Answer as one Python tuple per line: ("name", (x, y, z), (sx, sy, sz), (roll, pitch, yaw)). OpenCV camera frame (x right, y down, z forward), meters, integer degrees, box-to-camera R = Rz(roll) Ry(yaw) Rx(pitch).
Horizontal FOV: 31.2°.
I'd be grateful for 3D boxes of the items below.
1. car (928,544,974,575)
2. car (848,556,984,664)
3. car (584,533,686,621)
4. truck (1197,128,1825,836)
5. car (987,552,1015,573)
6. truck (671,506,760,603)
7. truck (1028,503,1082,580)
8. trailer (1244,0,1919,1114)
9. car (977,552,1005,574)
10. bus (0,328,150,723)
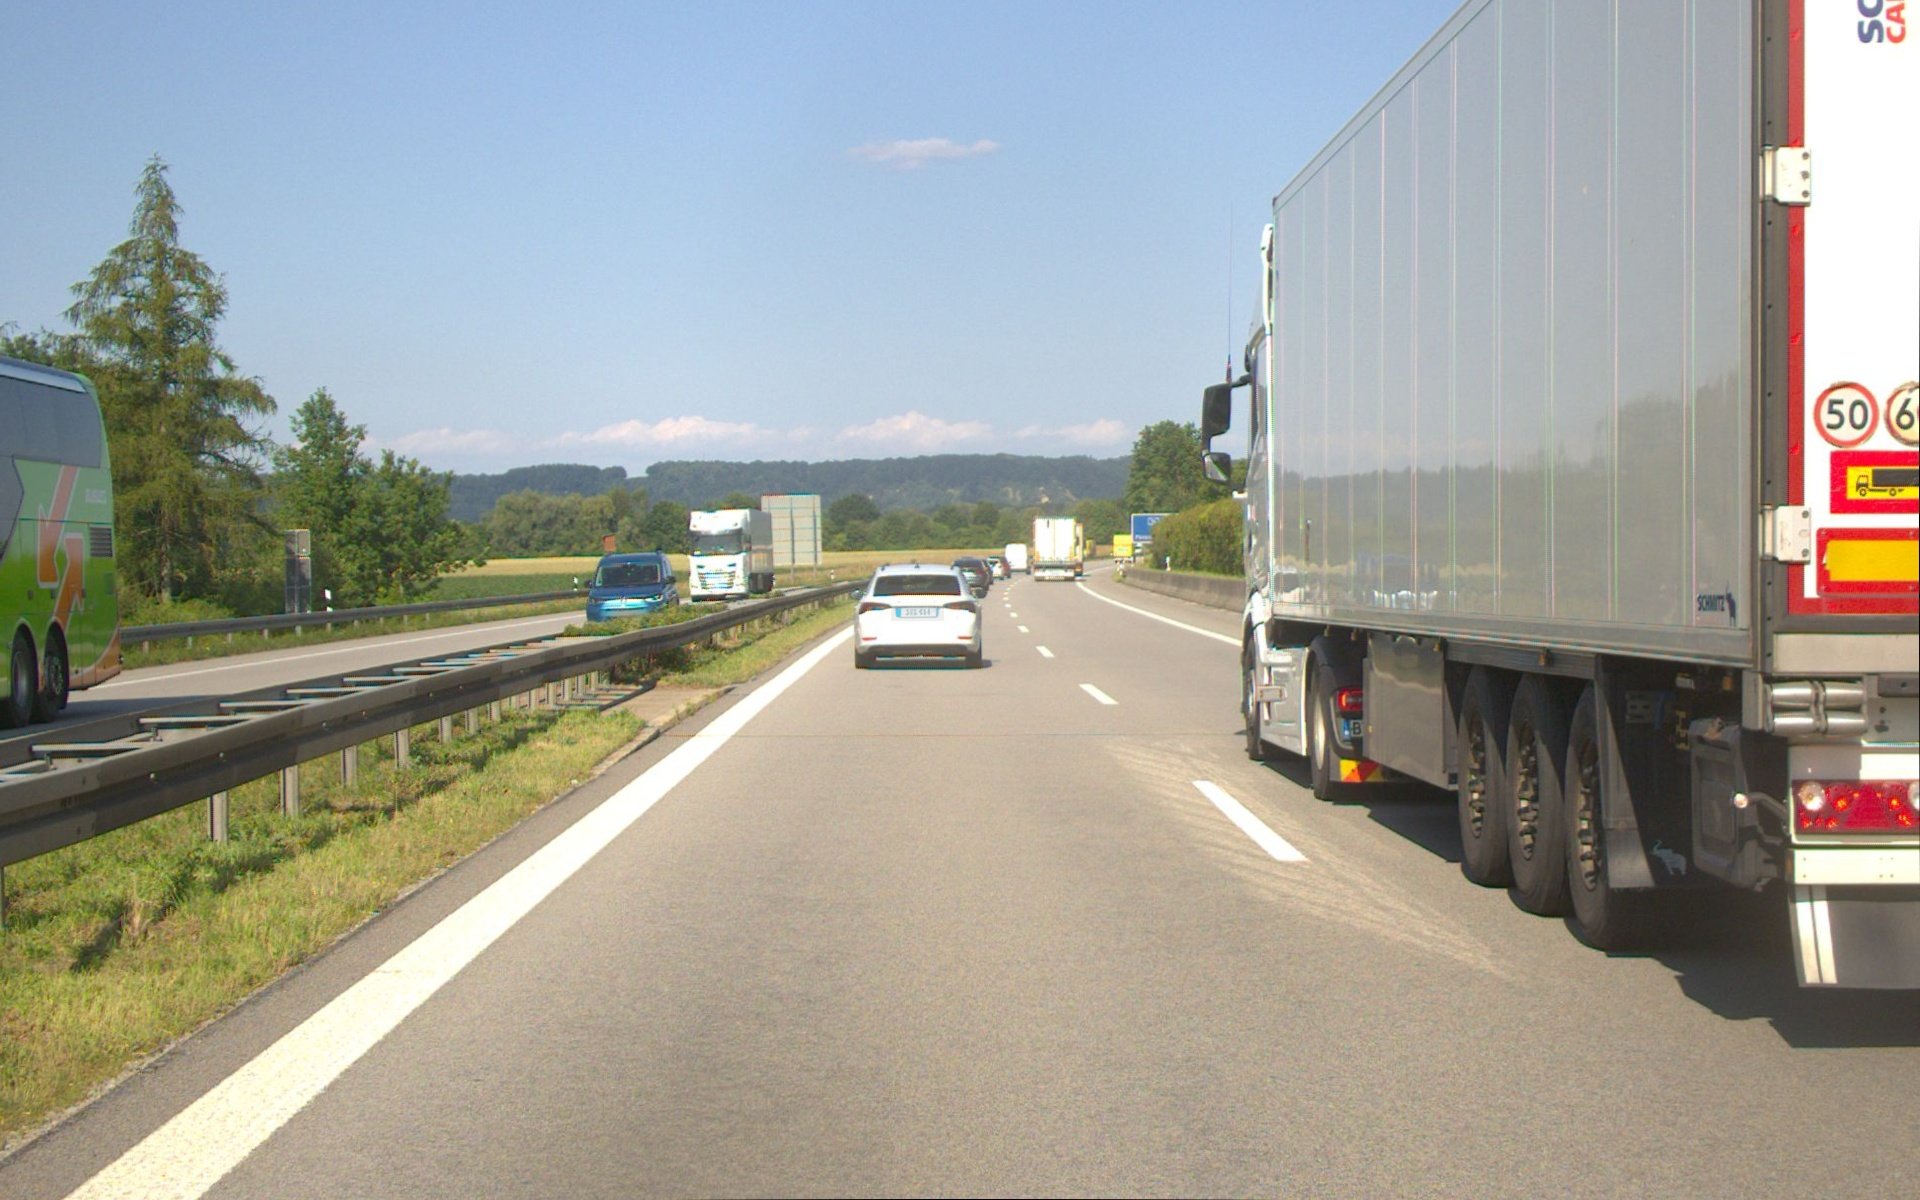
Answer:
("car", (-0.399, -1.843, 155.707), (1.771, 1.416, 4.495), (0, 1, 4))
("car", (-0.651, 0.100, 49.155), (1.840, 1.416, 5.255), (0, 1, -1))
("car", (-7.354, -0.546, 78.139), (1.754, 1.843, 5.011), (-3, 1, 0))
("truck", (3.399, -0.736, 23.197), (2.840, 3.953, 7.044), (-2, 1, -1))
("car", (2.898, -2.635, 241.807), (1.771, 1.416, 4.364), (0, 1, 4))
("truck", (-10.846, -2.027, 153.239), (3.156, 4.087, 7.735), (-3, 1, 1))
("truck", (5.930, -3.616, 213.246), (3.152, 4.596, 8.905), (-1, 1, 2))
("trailer", (3.493, -0.762, 16.346), (2.818, 3.953, 14.161), (-2, 1, -1))
("car", (2.047, -2.446, 224.575), (1.771, 1.416, 4.365), (0, 1, 1))
("bus", (-11.270, -0.704, 34.296), (2.936, 4.040, 14.669), (-2, 1, -1))
